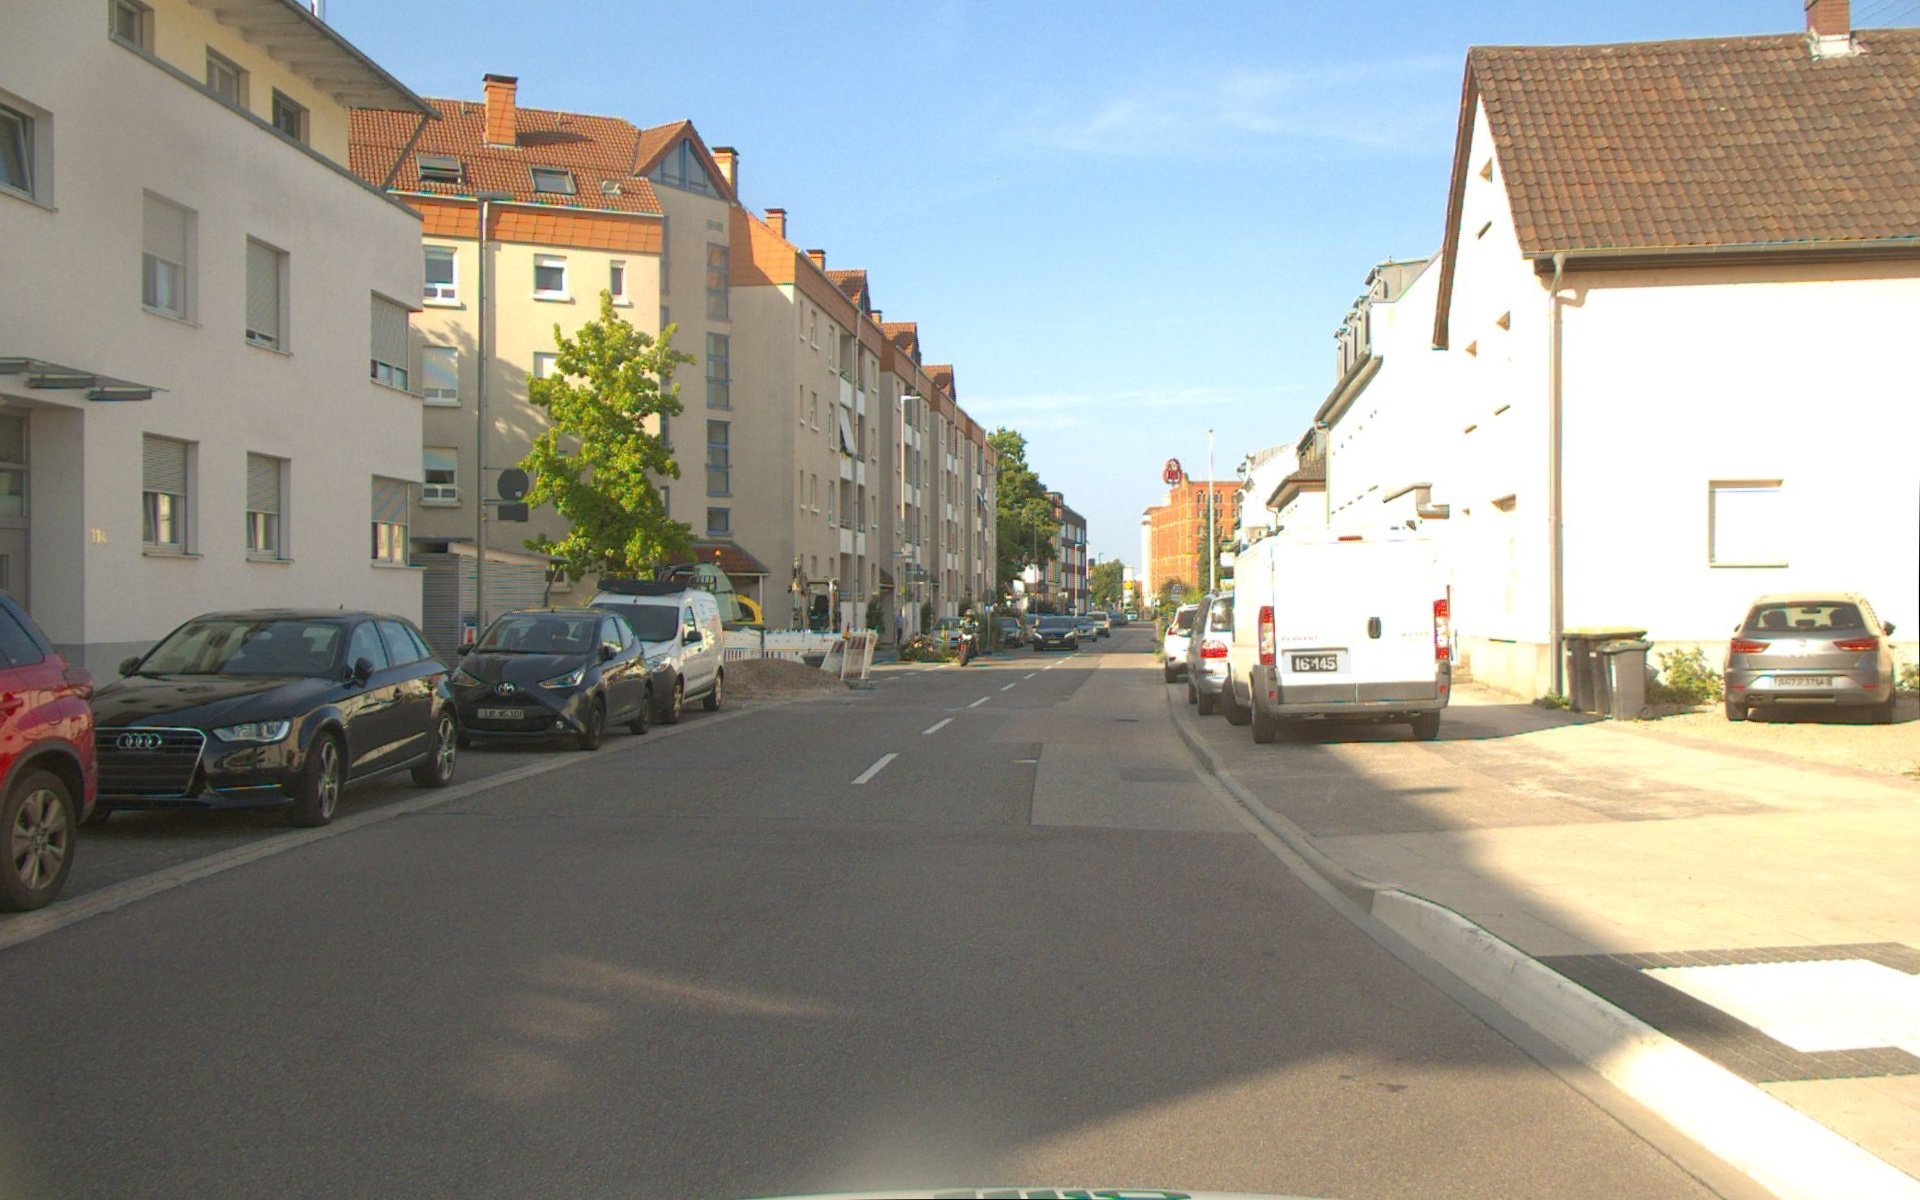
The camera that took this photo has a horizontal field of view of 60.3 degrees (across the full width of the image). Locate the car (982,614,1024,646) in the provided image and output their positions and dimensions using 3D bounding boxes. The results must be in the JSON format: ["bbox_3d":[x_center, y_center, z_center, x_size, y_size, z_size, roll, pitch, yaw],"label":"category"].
[{"bbox_3d":[2.029,1.386,77.767,1.650,1.430,4.086,1,0,6],"label":"car"}]

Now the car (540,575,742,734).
[{"bbox_3d":[-4.363,0.694,23.307,1.691,1.995,4.441,1,0,4],"label":"car"}]

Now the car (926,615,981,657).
[{"bbox_3d":[-0.204,1.281,59.856,1.605,1.420,3.673,-1,0,5],"label":"car"}]

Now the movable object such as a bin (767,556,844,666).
[{"bbox_3d":[-4.622,0.325,49.943,1.613,3.193,3.902,0,0,5],"label":"movable object such as a bin"}]

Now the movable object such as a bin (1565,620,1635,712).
[{"bbox_3d":[8.177,0.835,21.144,0.712,1.152,0.554,0,-1,4],"label":"movable object such as a bin"}]

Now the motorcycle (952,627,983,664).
[{"bbox_3d":[0.220,1.295,47.660,0.752,1.002,2.200,0,0,4],"label":"motorcycle"}]

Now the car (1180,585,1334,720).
[{"bbox_3d":[4.270,0.706,24.394,1.740,1.771,4.485,-2,0,4],"label":"car"}]

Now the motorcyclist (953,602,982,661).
[{"bbox_3d":[0.223,0.897,47.724,0.752,1.681,0.844,0,0,4],"label":"motorcyclist"}]

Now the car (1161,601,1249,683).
[{"bbox_3d":[5.485,0.898,37.508,1.774,1.713,4.480,-2,0,6],"label":"car"}]

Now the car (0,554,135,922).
[{"bbox_3d":[-5.139,0.621,6.498,1.692,1.650,4.263,0,0,-1],"label":"car"}]

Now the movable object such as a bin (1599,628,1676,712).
[{"bbox_3d":[8.105,0.828,19.801,0.712,0.975,0.554,0,-1,4],"label":"movable object such as a bin"}]

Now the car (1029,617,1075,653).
[{"bbox_3d":[3.954,1.472,70.739,1.791,1.445,4.211,0,-1,6],"label":"car"}]

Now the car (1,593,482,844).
[{"bbox_3d":[-4.971,0.720,12.157,1.692,1.504,4.263,1,0,-1],"label":"car"}]

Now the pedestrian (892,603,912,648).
[{"bbox_3d":[-2.413,1.068,68.687,0.703,1.850,0.746,0,0,7],"label":"pedestrian"}]

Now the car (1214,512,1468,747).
[{"bbox_3d":[4.312,0.311,19.568,2.129,2.368,5.000,-2,0,4],"label":"car"}]

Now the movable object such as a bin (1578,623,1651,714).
[{"bbox_3d":[8.130,0.843,20.557,0.712,1.112,0.554,0,-1,4],"label":"movable object such as a bin"}]

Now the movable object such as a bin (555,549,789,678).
[{"bbox_3d":[-6.893,0.334,39.967,5.394,2.951,2.108,1,0,-8],"label":"movable object such as a bin"}]

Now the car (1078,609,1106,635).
[{"bbox_3d":[9.492,1.592,118.845,1.881,1.798,4.341,0,-1,6],"label":"car"}]

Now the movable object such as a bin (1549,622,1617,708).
[{"bbox_3d":[8.198,0.845,21.796,0.712,1.112,0.554,0,-1,4],"label":"movable object such as a bin"}]

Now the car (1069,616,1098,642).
[{"bbox_3d":[7.342,1.722,98.145,1.583,1.480,3.687,-1,-1,6],"label":"car"}]

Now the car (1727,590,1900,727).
[{"bbox_3d":[10.154,0.627,19.603,1.625,1.432,3.973,-2,0,29],"label":"car"}]

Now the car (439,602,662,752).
[{"bbox_3d":[-4.443,0.777,18.417,1.462,1.491,3.515,1,0,2],"label":"car"}]

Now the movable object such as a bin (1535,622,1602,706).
[{"bbox_3d":[8.237,0.856,22.407,0.712,1.112,0.625,0,-1,4],"label":"movable object such as a bin"}]
